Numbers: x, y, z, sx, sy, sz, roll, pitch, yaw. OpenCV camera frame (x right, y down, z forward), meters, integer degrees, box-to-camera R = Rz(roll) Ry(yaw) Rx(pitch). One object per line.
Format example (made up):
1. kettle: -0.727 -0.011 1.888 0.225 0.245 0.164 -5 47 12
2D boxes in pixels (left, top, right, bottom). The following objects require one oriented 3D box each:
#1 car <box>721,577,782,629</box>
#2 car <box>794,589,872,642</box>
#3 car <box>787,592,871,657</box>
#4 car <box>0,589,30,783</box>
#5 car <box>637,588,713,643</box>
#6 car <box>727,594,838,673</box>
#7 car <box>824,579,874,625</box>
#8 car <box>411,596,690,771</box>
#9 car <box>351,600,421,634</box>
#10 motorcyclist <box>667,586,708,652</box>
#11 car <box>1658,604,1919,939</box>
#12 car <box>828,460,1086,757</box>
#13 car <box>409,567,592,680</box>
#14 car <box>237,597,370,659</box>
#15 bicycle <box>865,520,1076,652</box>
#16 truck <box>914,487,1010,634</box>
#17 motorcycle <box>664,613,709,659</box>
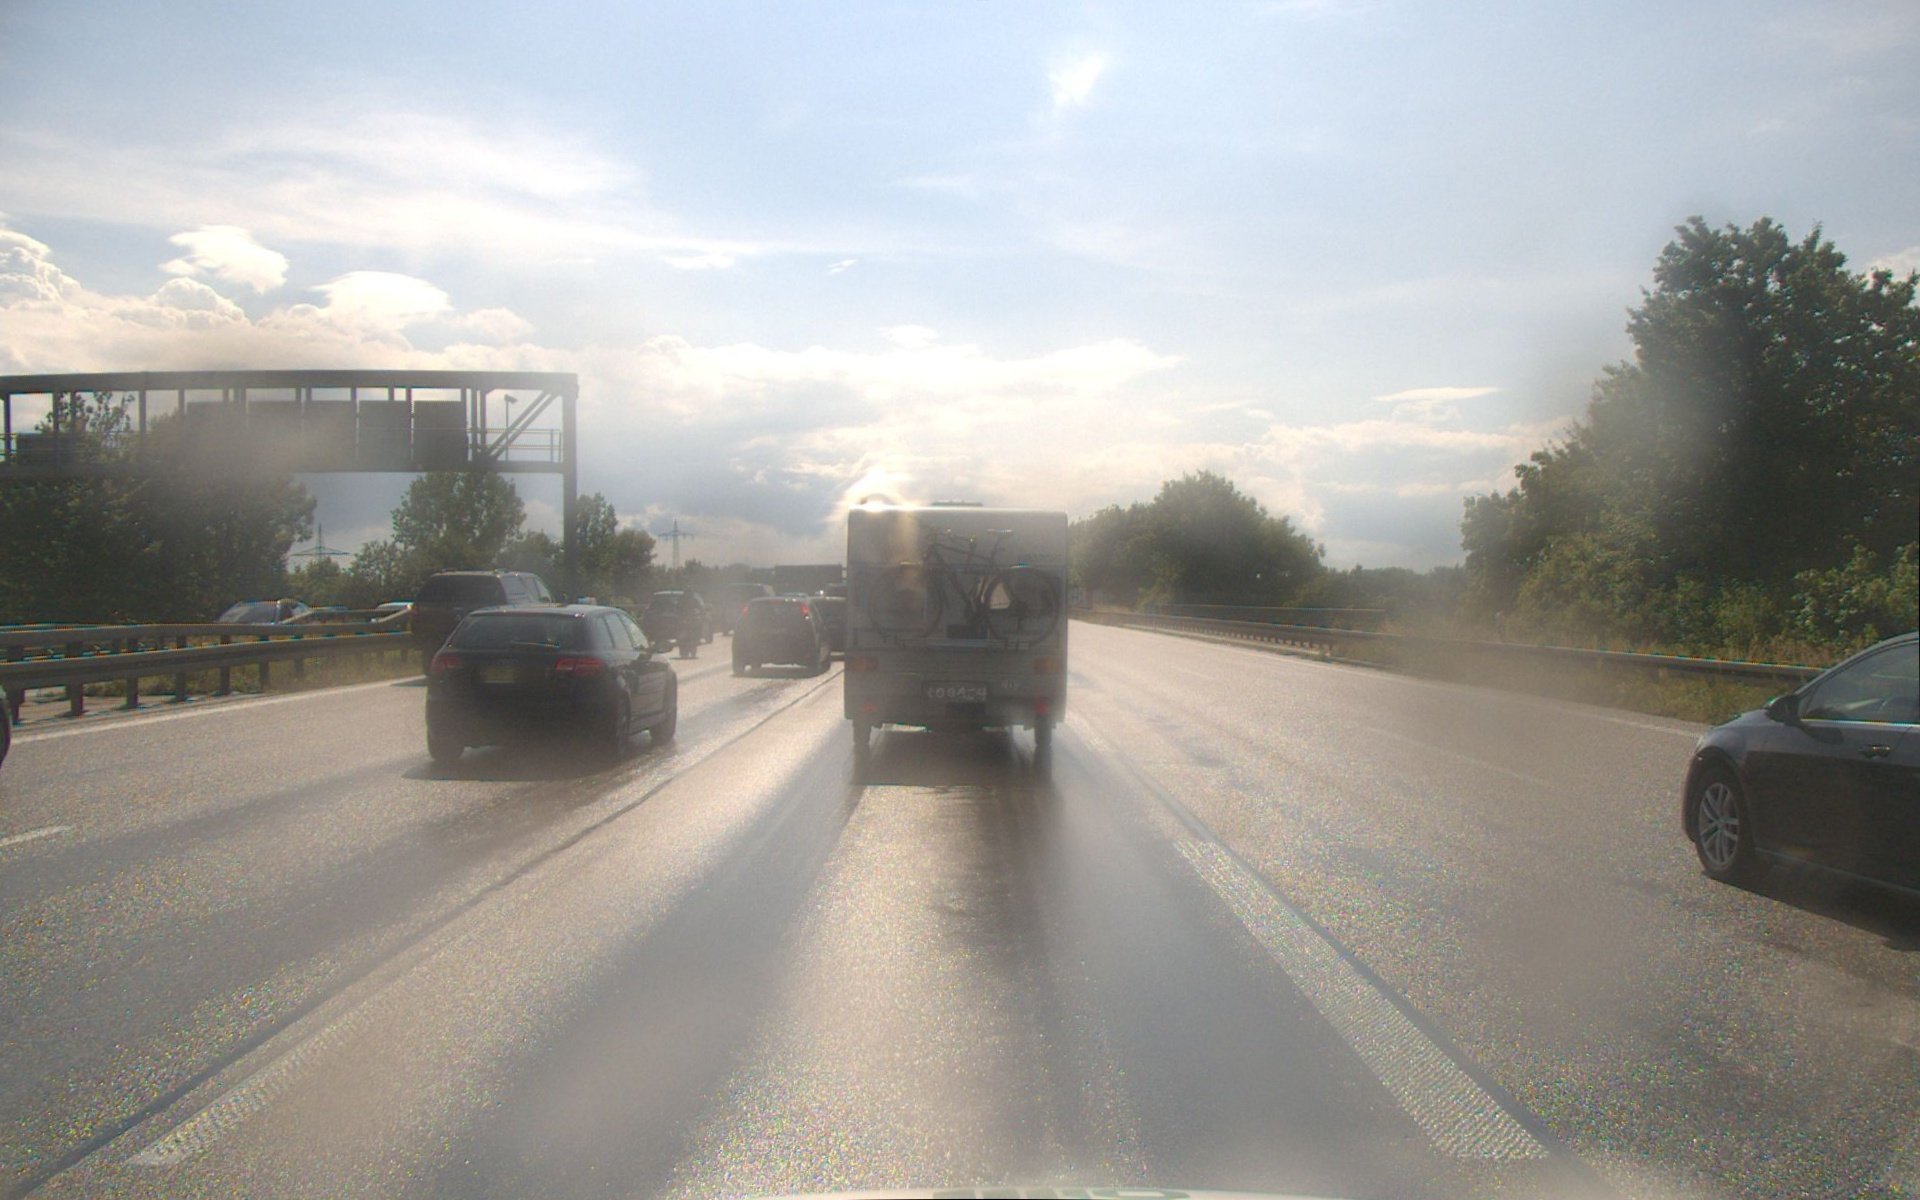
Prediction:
1. car: -8.209 0.105 65.453 1.810 1.967 5.015 0 0 -1
2. car: -3.723 0.428 49.029 1.946 1.483 3.827 0 0 1
3. car: -3.196 0.572 41.008 1.825 1.534 3.999 0 0 -1
4. car: -8.066 0.637 10.506 1.881 1.450 4.371 0 0 -1
5. car: -8.766 0.456 51.162 1.747 1.606 3.915 0 0 -1
6. car: -3.493 0.623 33.152 1.722 1.468 4.000 0 0 1
7. car: -4.211 0.067 63.269 1.654 1.691 3.640 0 0 0
8. car: -3.796 0.700 16.010 1.714 1.458 4.053 0 0 -1
9. car: -23.993 0.701 69.229 1.668 1.355 3.677 0 0 -1
10. motorcyclist: -6.551 0.442 39.804 0.779 1.564 1.093 0 0 0
11. car: 5.044 0.761 7.484 1.708 1.456 4.401 0 0 -4
12. car: 0.000 0.081 17.305 2.361 2.721 4.000 1 0 1
13. car: -8.255 0.379 30.256 1.769 1.876 5.418 0 0 1
14. car: -16.156 0.657 40.933 1.740 1.467 3.999 0 0 -1
15. bicycle: 0.098 -0.125 15.087 1.894 1.161 0.384 1 0 1
16. truck: 0.002 -1.280 58.776 3.082 4.707 10.733 0 0 -1
17. motorcycle: -6.545 0.840 39.718 0.676 1.045 2.388 0 0 0
